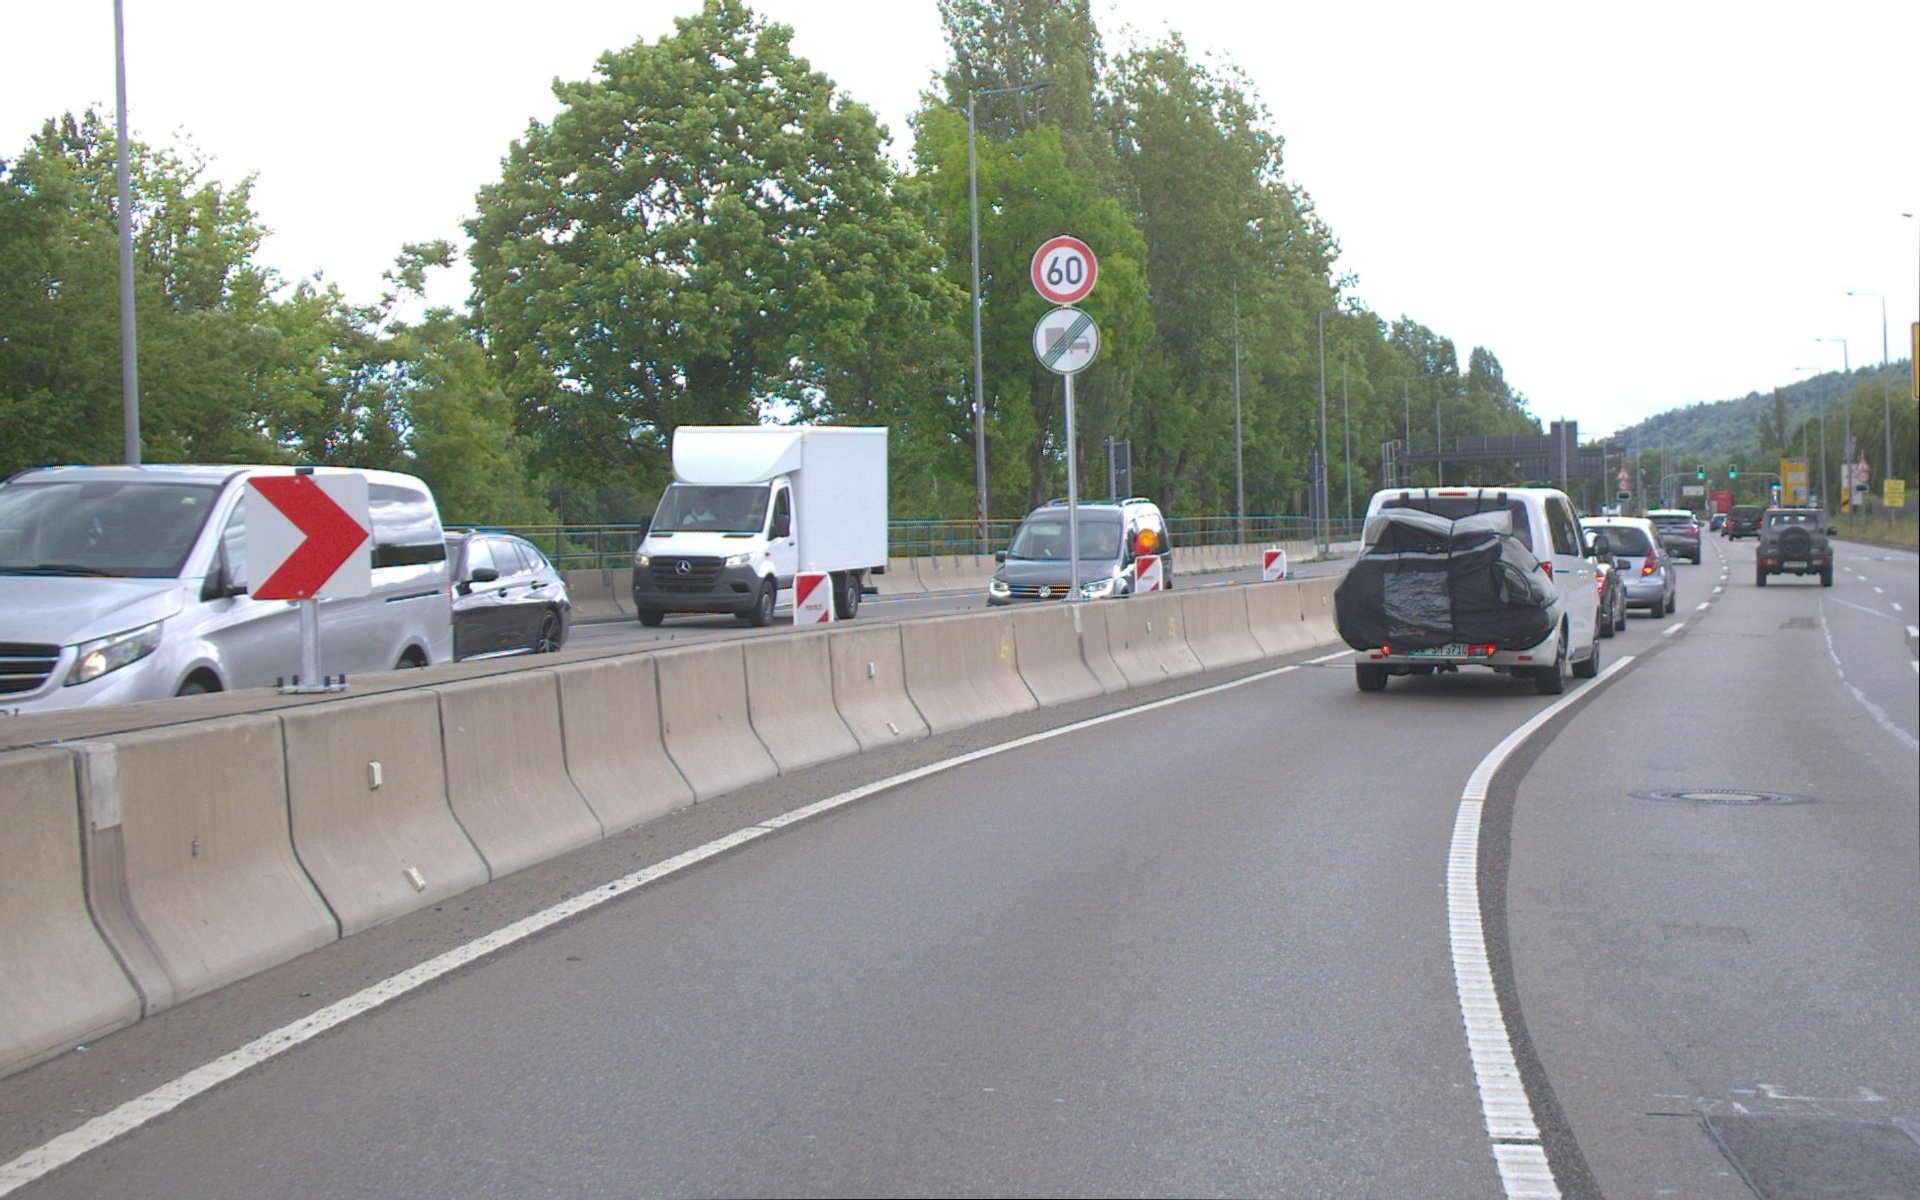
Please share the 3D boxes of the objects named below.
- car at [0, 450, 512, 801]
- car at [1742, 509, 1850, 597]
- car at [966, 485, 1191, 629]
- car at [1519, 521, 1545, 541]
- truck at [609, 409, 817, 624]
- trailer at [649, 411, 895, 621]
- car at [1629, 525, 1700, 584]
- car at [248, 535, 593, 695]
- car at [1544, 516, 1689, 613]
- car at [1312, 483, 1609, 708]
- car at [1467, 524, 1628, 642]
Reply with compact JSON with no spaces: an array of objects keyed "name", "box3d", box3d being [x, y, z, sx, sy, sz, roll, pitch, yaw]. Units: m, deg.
[{"name":"car","box3d":[-4.619,0.081,20.705,1.952,1.800,5.789,1,1,12]},{"name":"car","box3d":[18.331,-1.018,75.499,1.994,1.853,3.998,-1,0,10]},{"name":"car","box3d":[1.652,-0.575,45.867,1.903,1.799,4.951,1,1,15]},{"name":"car","box3d":[38.458,-4.648,231.173,1.733,1.369,3.615,0,1,9]},{"name":"truck","box3d":[-3.646,-1.237,51.251,2.274,3.103,2.985,1,1,14]},{"name":"trailer","box3d":[-2.886,-1.303,54.326,2.274,3.127,5.708,1,1,14]},{"name":"car","box3d":[20.922,-1.344,102.018,1.995,1.667,3.998,1,1,13]},{"name":"car","box3d":[-5.182,0.111,33.670,1.864,1.448,4.569,0,1,12]},{"name":"car","box3d":[10.507,-0.591,54.838,1.922,1.483,4.062,0,1,16]},{"name":"car","box3d":[4.766,-0.116,32.015,1.994,1.852,5.637,2,2,16]},{"name":"car","box3d":[7.891,-0.258,45.921,1.816,1.429,4.063,-2,1,13]}]
